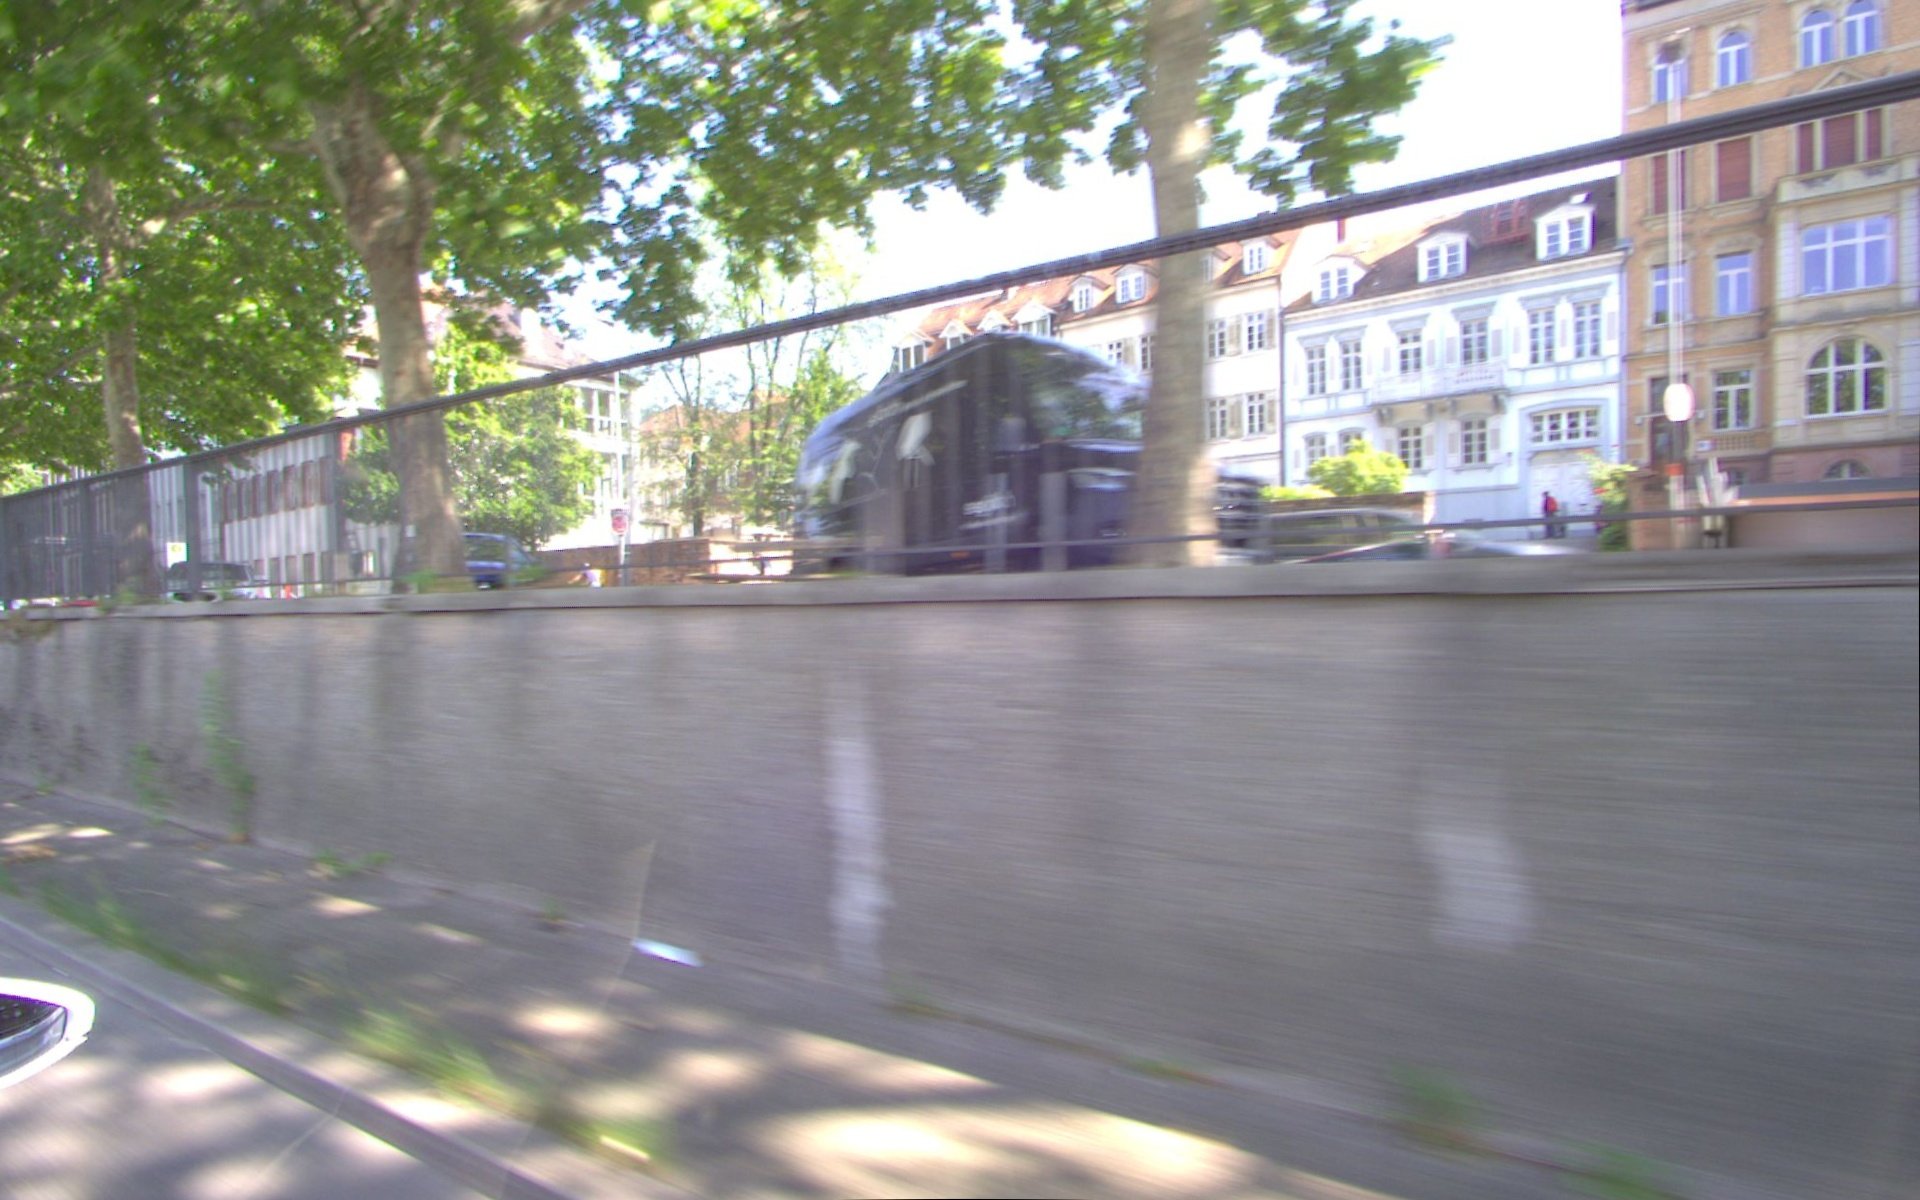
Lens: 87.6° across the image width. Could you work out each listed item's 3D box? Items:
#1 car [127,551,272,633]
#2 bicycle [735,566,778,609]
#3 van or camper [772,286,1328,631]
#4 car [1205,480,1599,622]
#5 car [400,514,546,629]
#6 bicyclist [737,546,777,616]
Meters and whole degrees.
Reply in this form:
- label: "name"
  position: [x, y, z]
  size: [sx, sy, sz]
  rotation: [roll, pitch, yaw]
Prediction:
- label: "car"
  position: [-15.200, -0.111, 20.229]
  size: [1.754, 1.488, 3.981]
  rotation: [0, -1, -29]
- label: "bicycle"
  position: [-5.157, -0.305, 25.311]
  size: [0.414, 0.988, 1.533]
  rotation: [1, -3, -39]
- label: "van or camper"
  position: [0.223, -0.867, 10.699]
  size: [2.311, 2.211, 7.327]
  rotation: [2, -3, -28]
- label: "car"
  position: [5.568, -0.537, 12.832]
  size: [4.369, 1.533, 1.831]
  rotation: [0, 2, 35]
- label: "car"
  position: [-7.526, -0.342, 15.290]
  size: [1.631, 1.520, 3.796]
  rotation: [0, -1, -32]
- label: "bicyclist"
  position: [-5.129, -0.457, 25.307]
  size: [0.696, 1.704, 0.838]
  rotation: [1, -3, -40]
